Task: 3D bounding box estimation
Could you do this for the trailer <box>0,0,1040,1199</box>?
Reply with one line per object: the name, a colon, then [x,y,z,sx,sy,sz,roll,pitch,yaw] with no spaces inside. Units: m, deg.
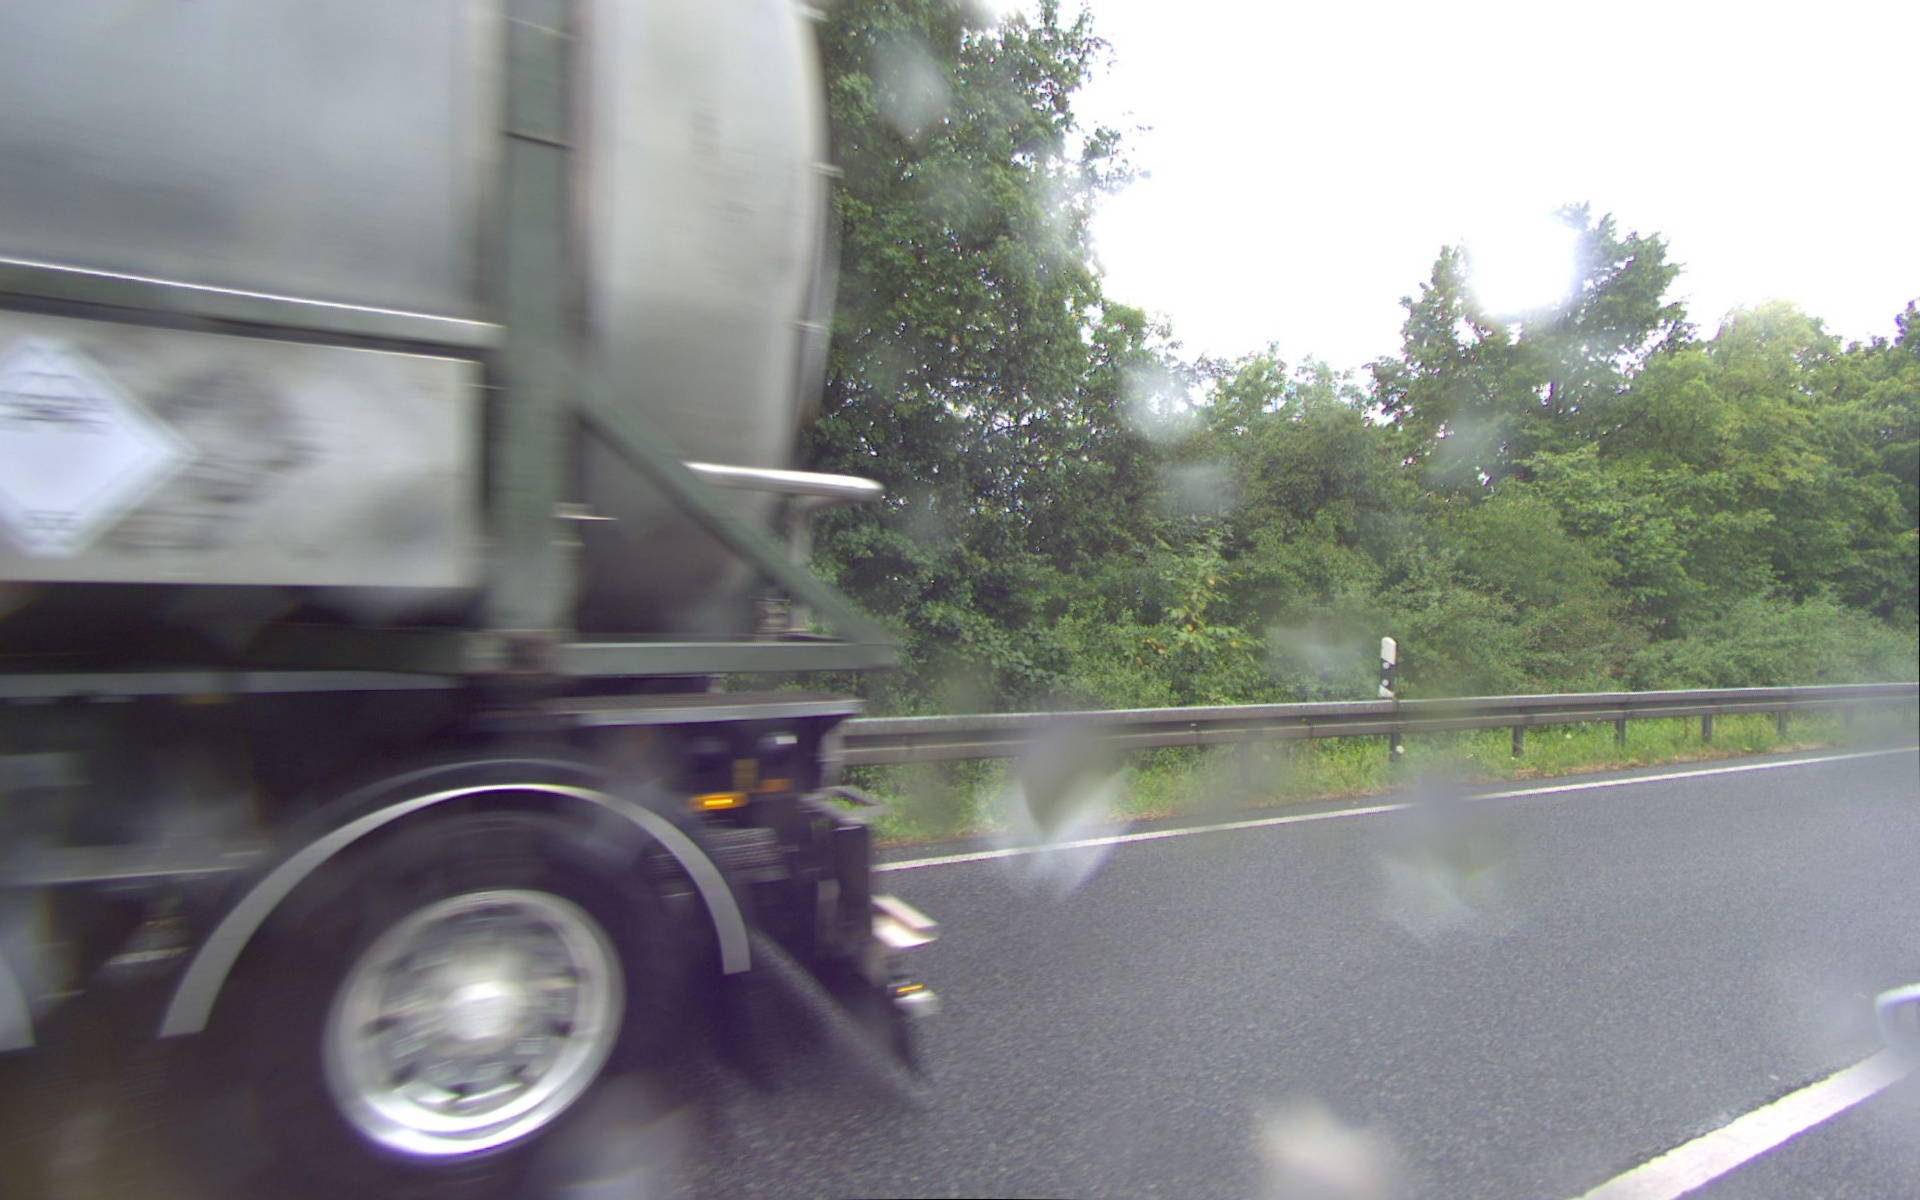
trailer: [-3.720,-0.683,2.179,7.703,3.876,2.523,2,0,-31]
